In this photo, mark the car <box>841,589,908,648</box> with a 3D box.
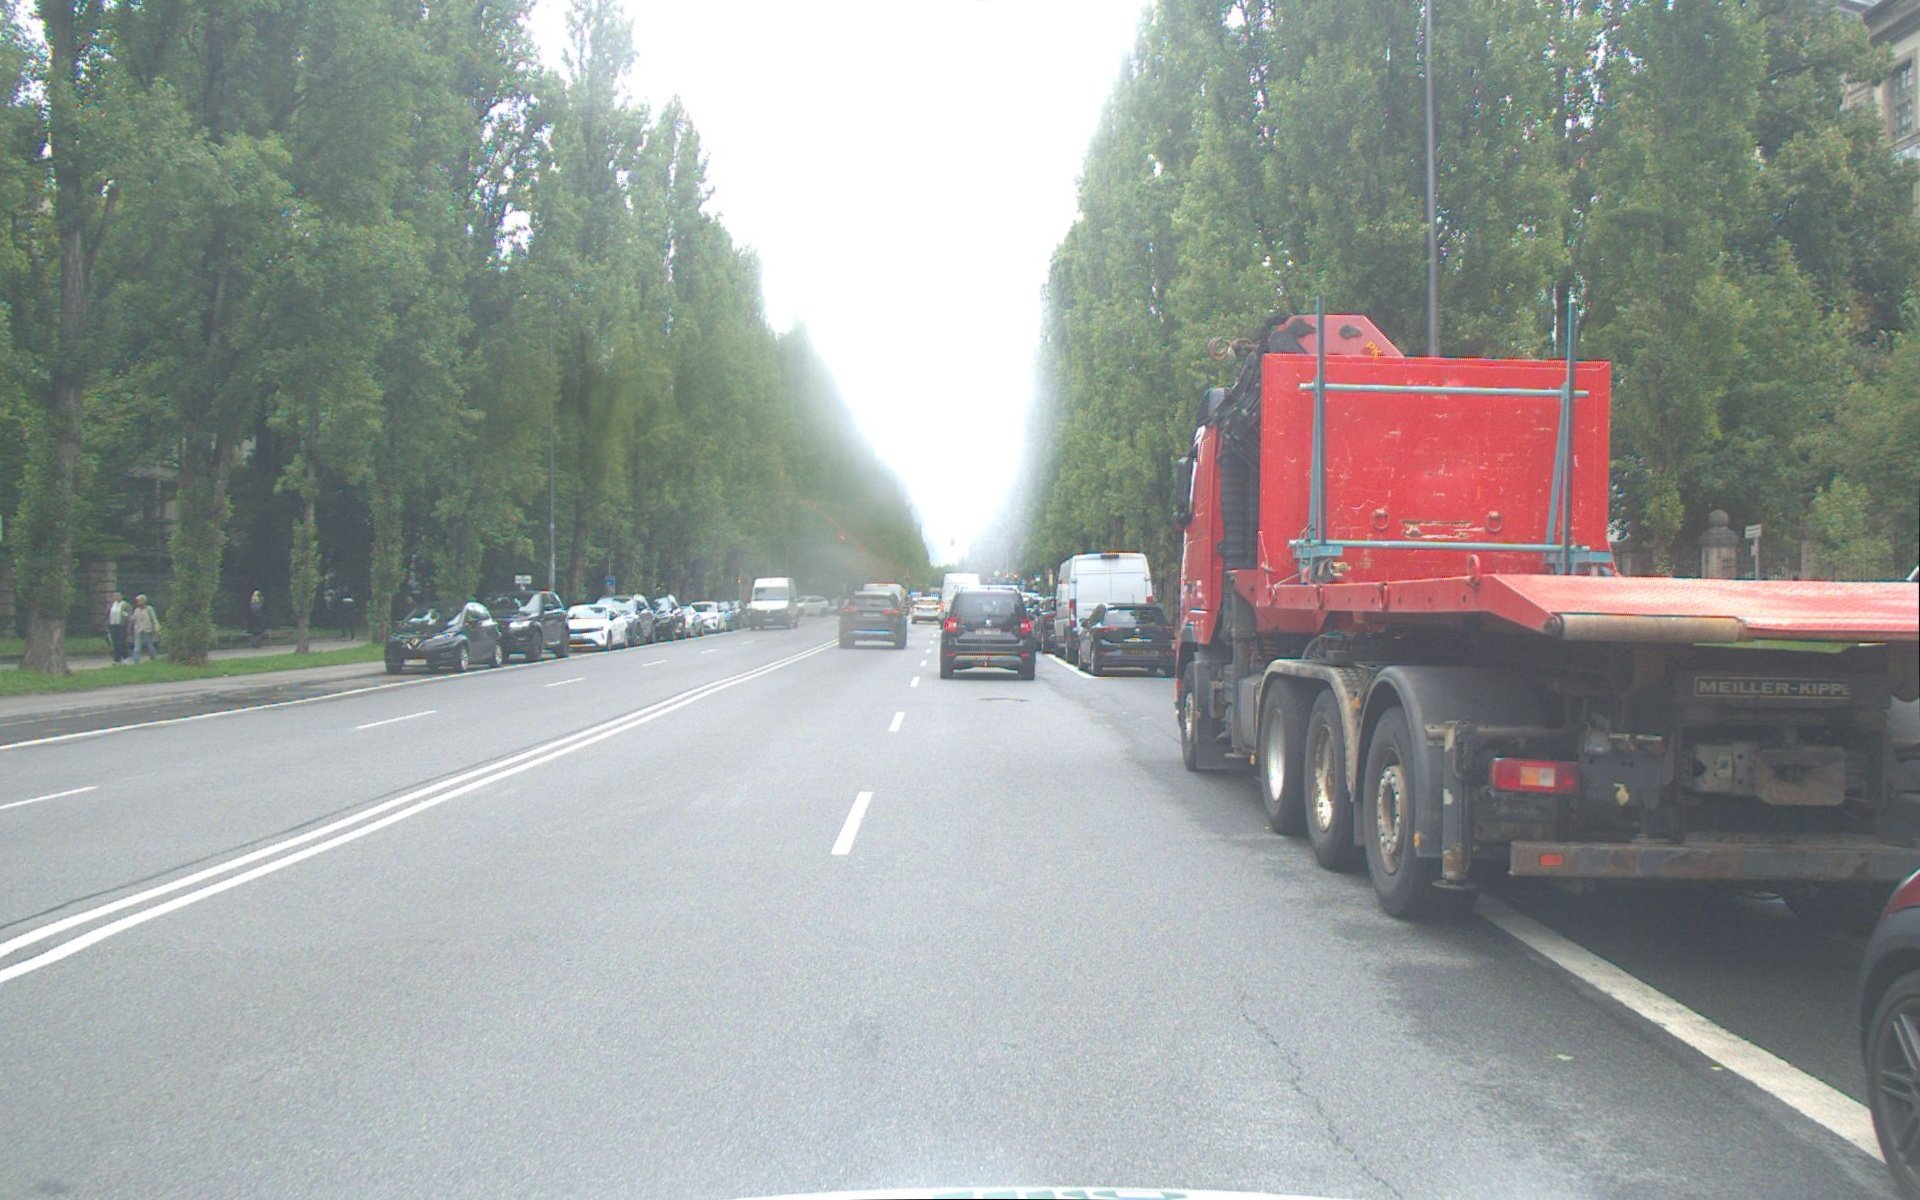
[{"bbox_3d":[-2.467,0.517,48.737,1.745,1.648,4.025,0,0,0],"label":"car"}]

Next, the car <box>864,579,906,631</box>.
[{"bbox_3d":[-3.233,0.209,70.891,1.746,2.148,4.022,0,0,-3],"label":"car"}]

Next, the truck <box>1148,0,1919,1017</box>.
[{"bbox_3d":[3.297,-0.387,10.886,2.787,3.626,10.277,0,0,-1],"label":"truck"}]

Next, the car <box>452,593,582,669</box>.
[{"bbox_3d":[-11.607,0.777,43.713,2.004,1.817,4.800,-3,0,1],"label":"car"}]

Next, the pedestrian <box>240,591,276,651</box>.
[{"bbox_3d":[-21.127,0.632,49.772,0.652,1.772,0.957,0,0,1],"label":"pedestrian"}]

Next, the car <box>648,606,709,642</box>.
[{"bbox_3d":[-11.698,0.984,69.054,1.789,1.357,4.233,-3,0,0],"label":"car"}]

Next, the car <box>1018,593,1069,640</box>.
[{"bbox_3d":[3.140,0.606,62.727,1.707,1.705,4.579,0,0,0],"label":"car"}]

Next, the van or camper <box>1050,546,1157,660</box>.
[{"bbox_3d":[3.461,0.066,41.050,2.095,2.584,6.417,0,0,0],"label":"van or camper"}]

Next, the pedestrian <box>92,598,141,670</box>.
[{"bbox_3d":[-19.295,0.767,37.838,0.703,1.633,0.813,0,0,-1],"label":"pedestrian"}]

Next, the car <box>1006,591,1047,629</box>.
[{"bbox_3d":[3.382,0.485,84.859,1.814,1.914,4.167,0,0,-2],"label":"car"}]

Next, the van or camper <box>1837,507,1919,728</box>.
[{"bbox_3d":[9.913,0.179,14.254,1.963,2.049,4.985,1,0,-2],"label":"van or camper"}]

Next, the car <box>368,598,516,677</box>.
[{"bbox_3d":[-11.729,0.801,37.774,1.905,1.611,4.389,-2,0,0],"label":"car"}]

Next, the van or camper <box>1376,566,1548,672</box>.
[{"bbox_3d":[10.132,0.350,33.781,1.935,1.967,5.037,1,0,-1],"label":"van or camper"}]

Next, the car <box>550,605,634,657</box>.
[{"bbox_3d":[-11.565,0.945,52.189,1.669,1.484,4.272,-2,0,0],"label":"car"}]

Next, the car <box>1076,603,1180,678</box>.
[{"bbox_3d":[3.391,0.782,34.017,1.642,1.445,3.999,0,0,-2],"label":"car"}]

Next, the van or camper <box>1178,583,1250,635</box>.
[{"bbox_3d":[10.046,0.343,65.784,2.033,1.967,5.368,1,0,0],"label":"van or camper"}]

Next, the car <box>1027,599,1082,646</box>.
[{"bbox_3d":[3.264,0.754,57.796,1.668,1.546,4.295,0,0,0],"label":"car"}]

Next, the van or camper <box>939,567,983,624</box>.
[{"bbox_3d":[0.034,-0.198,77.740,1.935,2.593,4.023,0,0,-2],"label":"van or camper"}]

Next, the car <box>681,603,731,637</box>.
[{"bbox_3d":[-11.913,0.931,77.759,1.735,1.477,4.232,-3,0,-1],"label":"car"}]

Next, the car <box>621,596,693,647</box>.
[{"bbox_3d":[-11.585,0.780,63.526,1.902,1.798,4.894,-3,0,-1],"label":"car"}]

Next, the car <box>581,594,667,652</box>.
[{"bbox_3d":[-11.655,0.763,57.658,1.870,1.821,5.179,-3,0,0],"label":"car"}]

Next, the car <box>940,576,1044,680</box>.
[{"bbox_3d":[0.583,0.506,31.529,1.817,1.801,4.000,2,0,0],"label":"car"}]

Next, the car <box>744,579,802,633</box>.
[{"bbox_3d":[-9.413,0.286,83.666,2.182,2.526,6.757,-2,0,-1],"label":"car"}]

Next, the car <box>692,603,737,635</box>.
[{"bbox_3d":[-12.138,0.914,81.959,1.675,1.476,3.585,-3,0,-1],"label":"car"}]

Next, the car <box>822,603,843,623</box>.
[{"bbox_3d":[-11.924,1.195,154.864,1.654,1.814,3.775,0,0,0],"label":"car"}]

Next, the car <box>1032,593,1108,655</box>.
[{"bbox_3d":[3.126,0.654,47.654,1.749,1.677,4.416,0,0,-2],"label":"car"}]

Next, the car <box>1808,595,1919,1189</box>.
[{"bbox_3d":[3.200,0.739,2.882,1.529,1.495,3.652,0,0,-1],"label":"car"}]

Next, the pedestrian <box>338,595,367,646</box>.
[{"bbox_3d":[-21.461,0.717,58.407,0.652,1.772,0.957,0,0,1],"label":"pedestrian"}]

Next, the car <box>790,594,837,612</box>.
[{"bbox_3d":[-11.911,0.247,134.725,1.680,1.389,3.805,0,0,38],"label":"car"}]

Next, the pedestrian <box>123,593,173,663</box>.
[{"bbox_3d":[-18.572,0.632,37.853,0.703,1.576,0.875,0,0,-1],"label":"pedestrian"}]

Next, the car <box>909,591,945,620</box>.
[{"bbox_3d":[-1.852,0.311,92.687,1.953,1.588,3.999,0,0,-1],"label":"car"}]
